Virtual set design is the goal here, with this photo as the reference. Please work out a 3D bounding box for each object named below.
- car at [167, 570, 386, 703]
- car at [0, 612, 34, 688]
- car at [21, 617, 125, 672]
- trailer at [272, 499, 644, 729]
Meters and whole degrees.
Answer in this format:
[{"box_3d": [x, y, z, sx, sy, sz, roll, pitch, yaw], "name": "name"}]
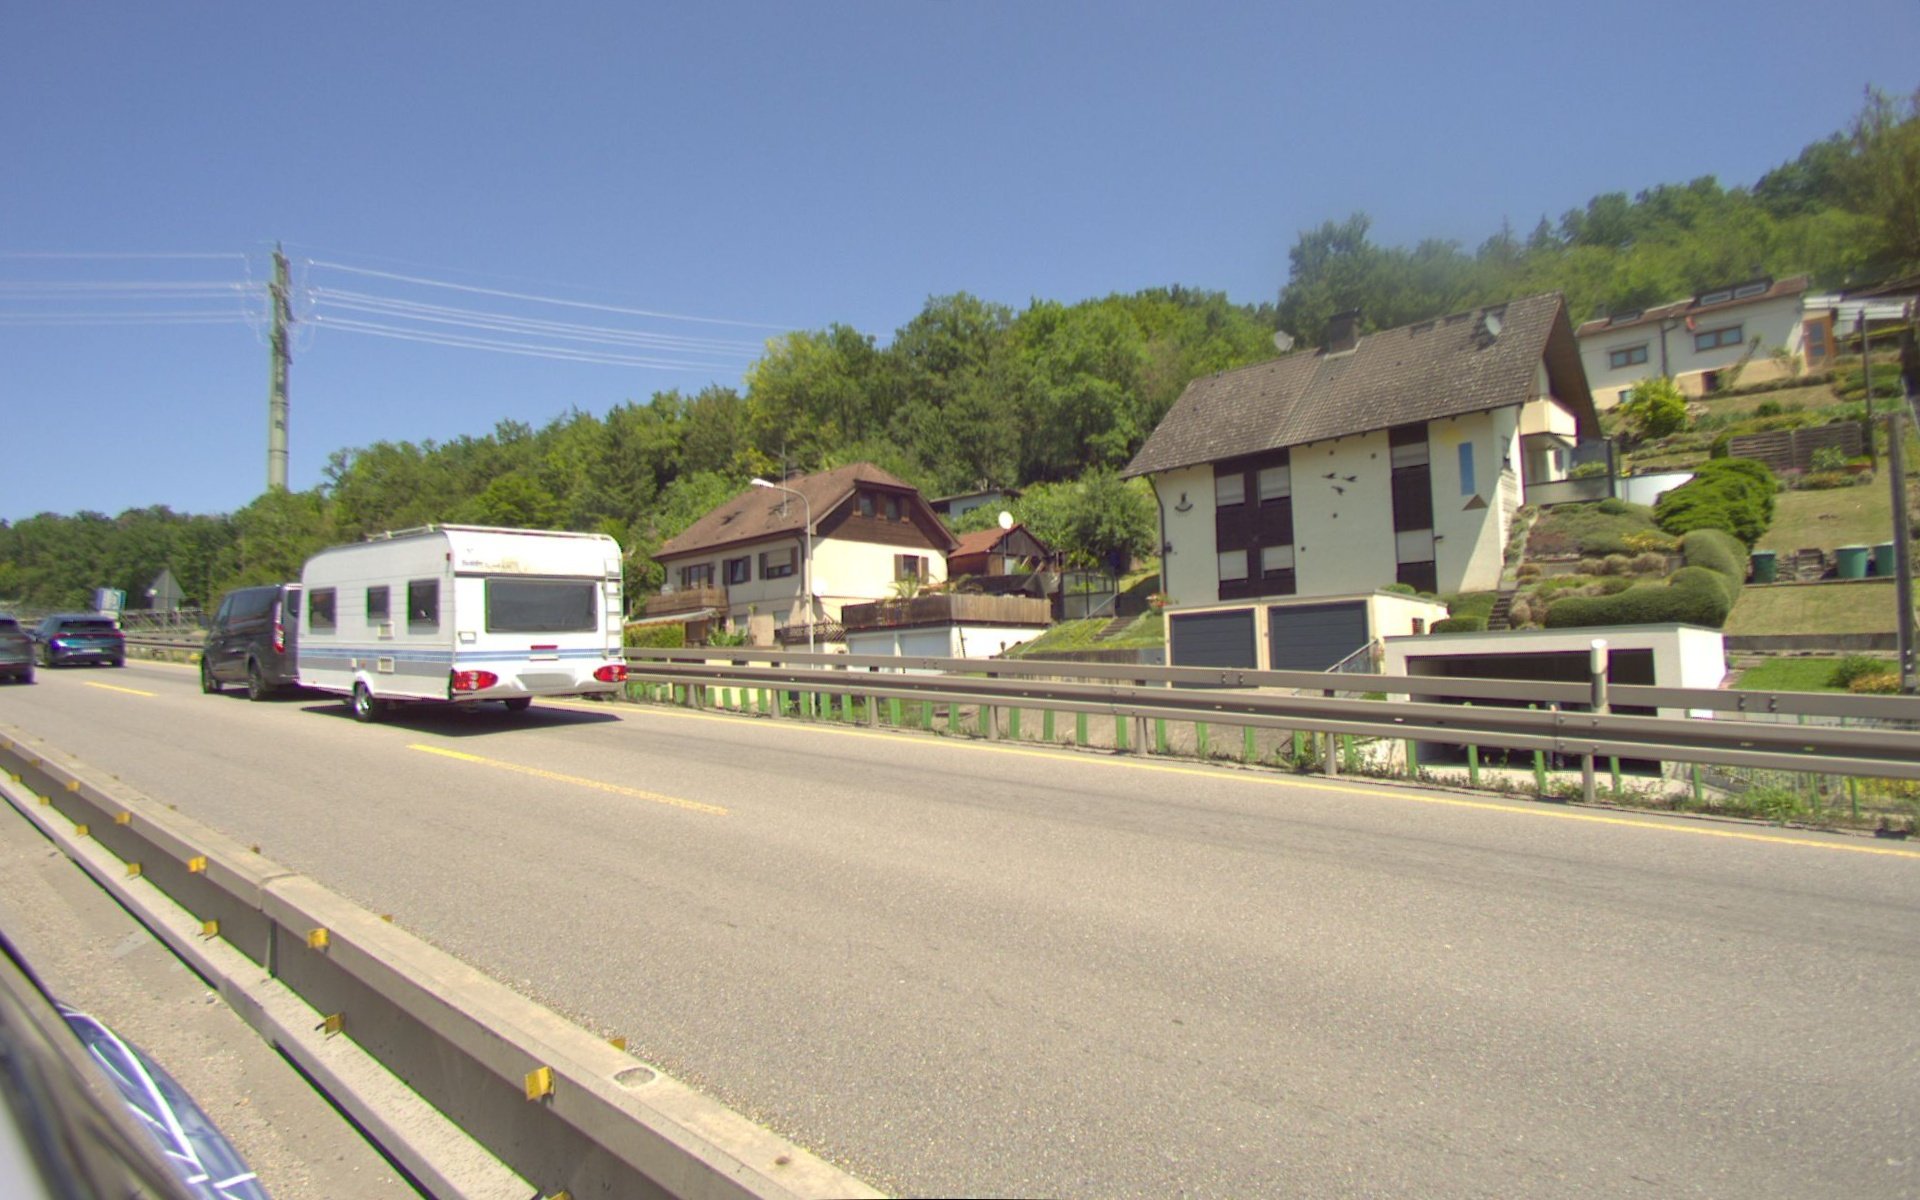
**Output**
[{"box_3d": [-12.123, 0.576, 17.817, 4.977, 2.029, 1.973, -1, -1, 41], "name": "car"}, {"box_3d": [-22.223, 1.090, 22.529, 4.318, 1.599, 1.779, -1, -1, 39], "name": "car"}, {"box_3d": [-26.062, 1.265, 29.707, 3.851, 1.526, 1.610, -1, -1, 38], "name": "car"}, {"box_3d": [-7.392, 0.190, 14.528, 6.237, 2.608, 2.573, -1, -1, 41], "name": "trailer"}]
